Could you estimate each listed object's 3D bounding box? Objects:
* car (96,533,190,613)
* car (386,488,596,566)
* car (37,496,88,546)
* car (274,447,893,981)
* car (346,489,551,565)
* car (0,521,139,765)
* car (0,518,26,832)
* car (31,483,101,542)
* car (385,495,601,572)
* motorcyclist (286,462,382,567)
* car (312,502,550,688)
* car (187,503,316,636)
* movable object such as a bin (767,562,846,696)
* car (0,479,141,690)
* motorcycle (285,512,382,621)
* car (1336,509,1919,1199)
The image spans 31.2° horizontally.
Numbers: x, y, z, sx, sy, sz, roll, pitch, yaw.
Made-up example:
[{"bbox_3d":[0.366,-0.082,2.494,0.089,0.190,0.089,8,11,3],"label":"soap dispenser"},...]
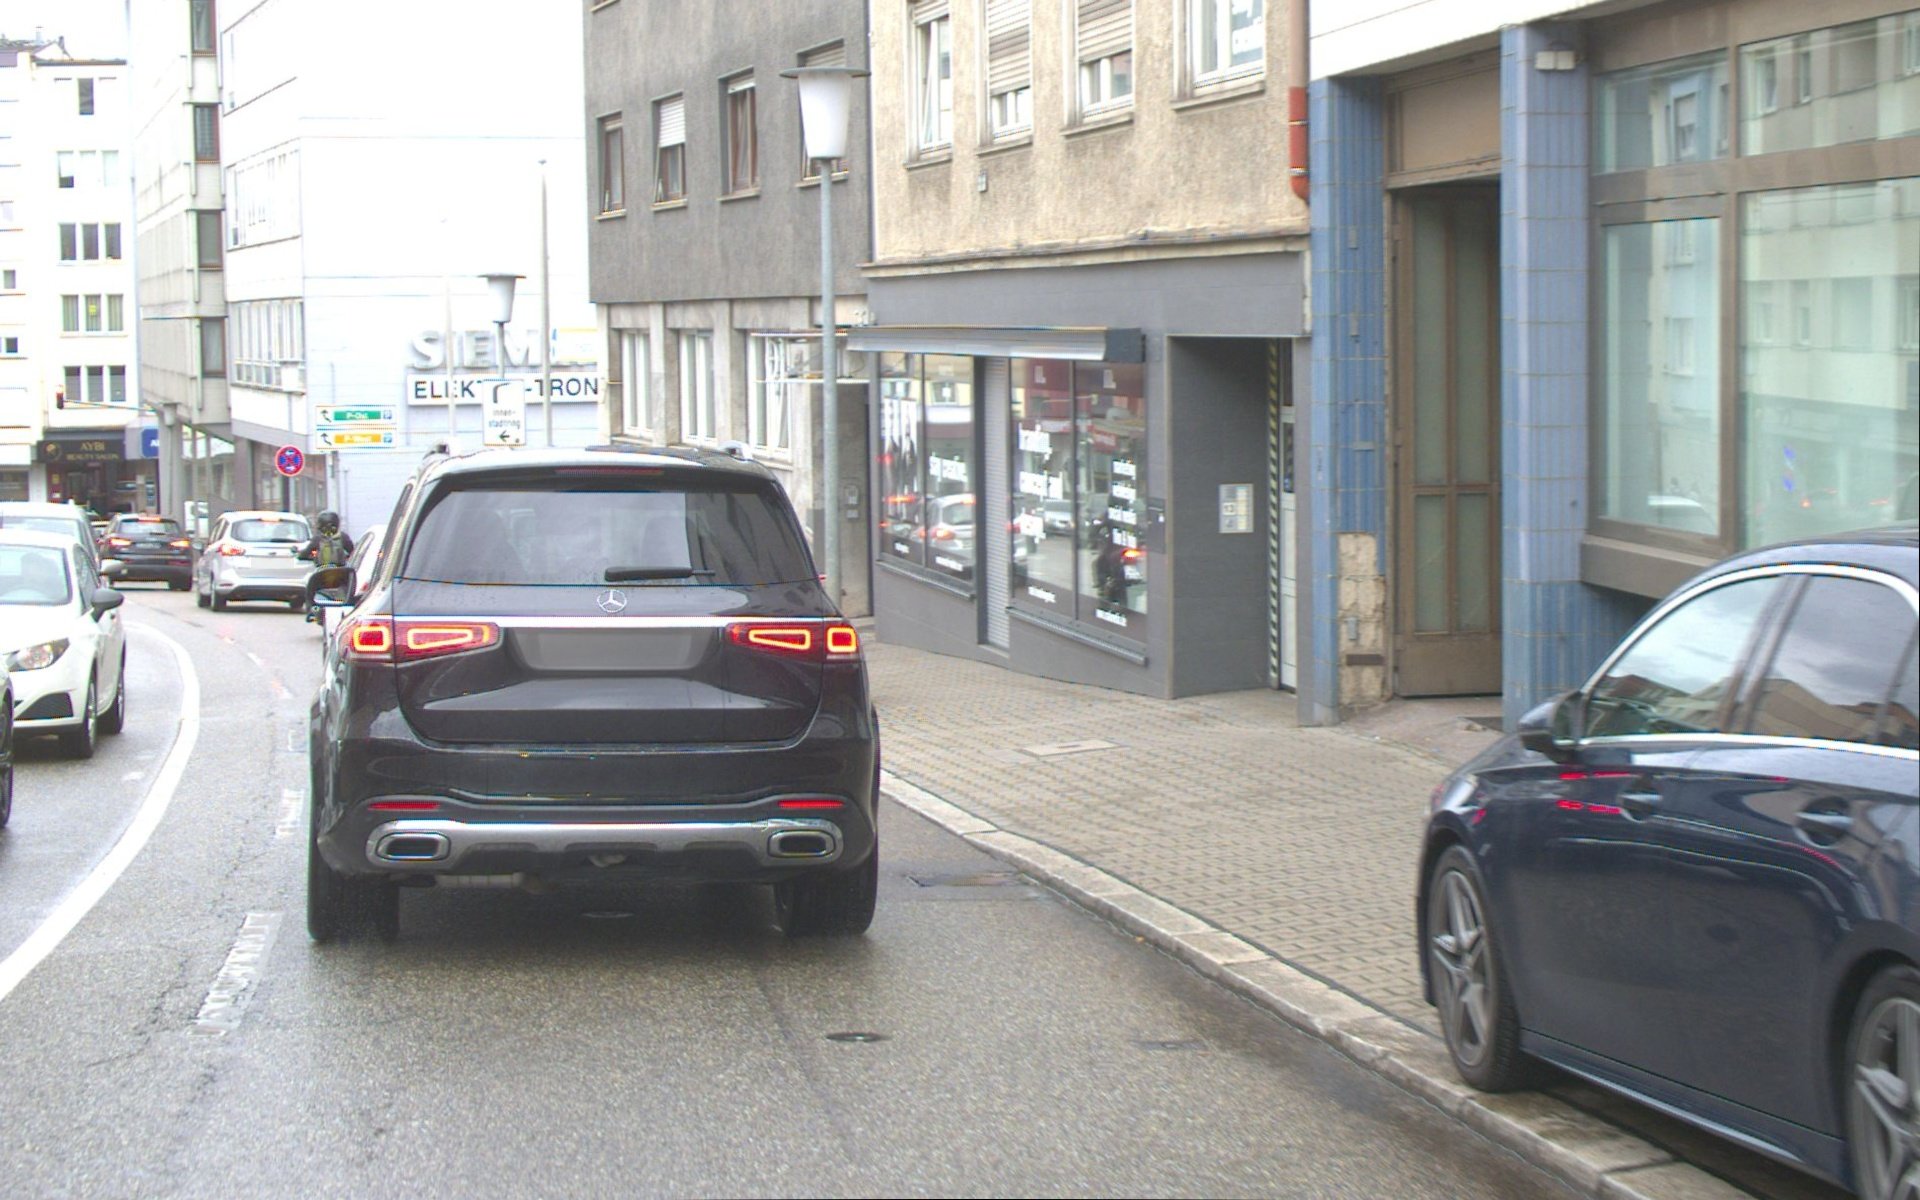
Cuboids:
[{"bbox_3d":[-16.841,-0.575,70.784,1.522,1.542,3.108,-1,2,-20],"label":"car"},{"bbox_3d":[-9.829,-1.506,72.128,3.988,1.592,1.799,0,0,-36],"label":"car"},{"bbox_3d":[-29.091,-2.560,111.351,1.522,1.542,3.108,-1,2,-15],"label":"car"},{"bbox_3d":[-1.614,0.301,13.696,2.020,1.733,4.749,-1,2,-9],"label":"car"},{"bbox_3d":[-11.051,-1.555,74.362,3.988,1.592,1.799,0,0,-36],"label":"car"},{"bbox_3d":[-6.493,0.213,22.859,1.698,1.475,4.292,1,1,-9],"label":"car"},{"bbox_3d":[-5.364,0.405,15.378,1.806,1.516,4.563,-1,1,-9],"label":"car"},{"bbox_3d":[-24.003,-2.361,92.290,1.522,1.542,3.108,-1,2,-20],"label":"car"},{"bbox_3d":[-9.422,-1.324,69.480,3.988,1.489,1.733,0,0,-36],"label":"car"},{"bbox_3d":[-7.686,-1.070,42.115,0.867,1.053,2.940,-1,6,-16],"label":"motorcyclist"},{"bbox_3d":[-4.871,-0.080,31.225,1.830,1.456,4.380,-4,2,-12],"label":"car"},{"bbox_3d":[-11.338,-0.525,54.892,1.753,1.774,3.577,-1,6,-16],"label":"car"},{"bbox_3d":[-1.149,0.210,25.681,0.524,0.947,0.538,0,6,-9],"label":"movable object such as a bin"},{"bbox_3d":[-8.143,-0.170,29.968,1.806,1.699,4.563,1,1,-12],"label":"car"},{"bbox_3d":[-7.688,-0.432,42.084,0.867,1.053,2.940,-1,6,-16],"label":"motorcycle"},{"bbox_3d":[2.234,0.530,7.383,1.763,1.387,4.380,-4,2,-8],"label":"car"}]
